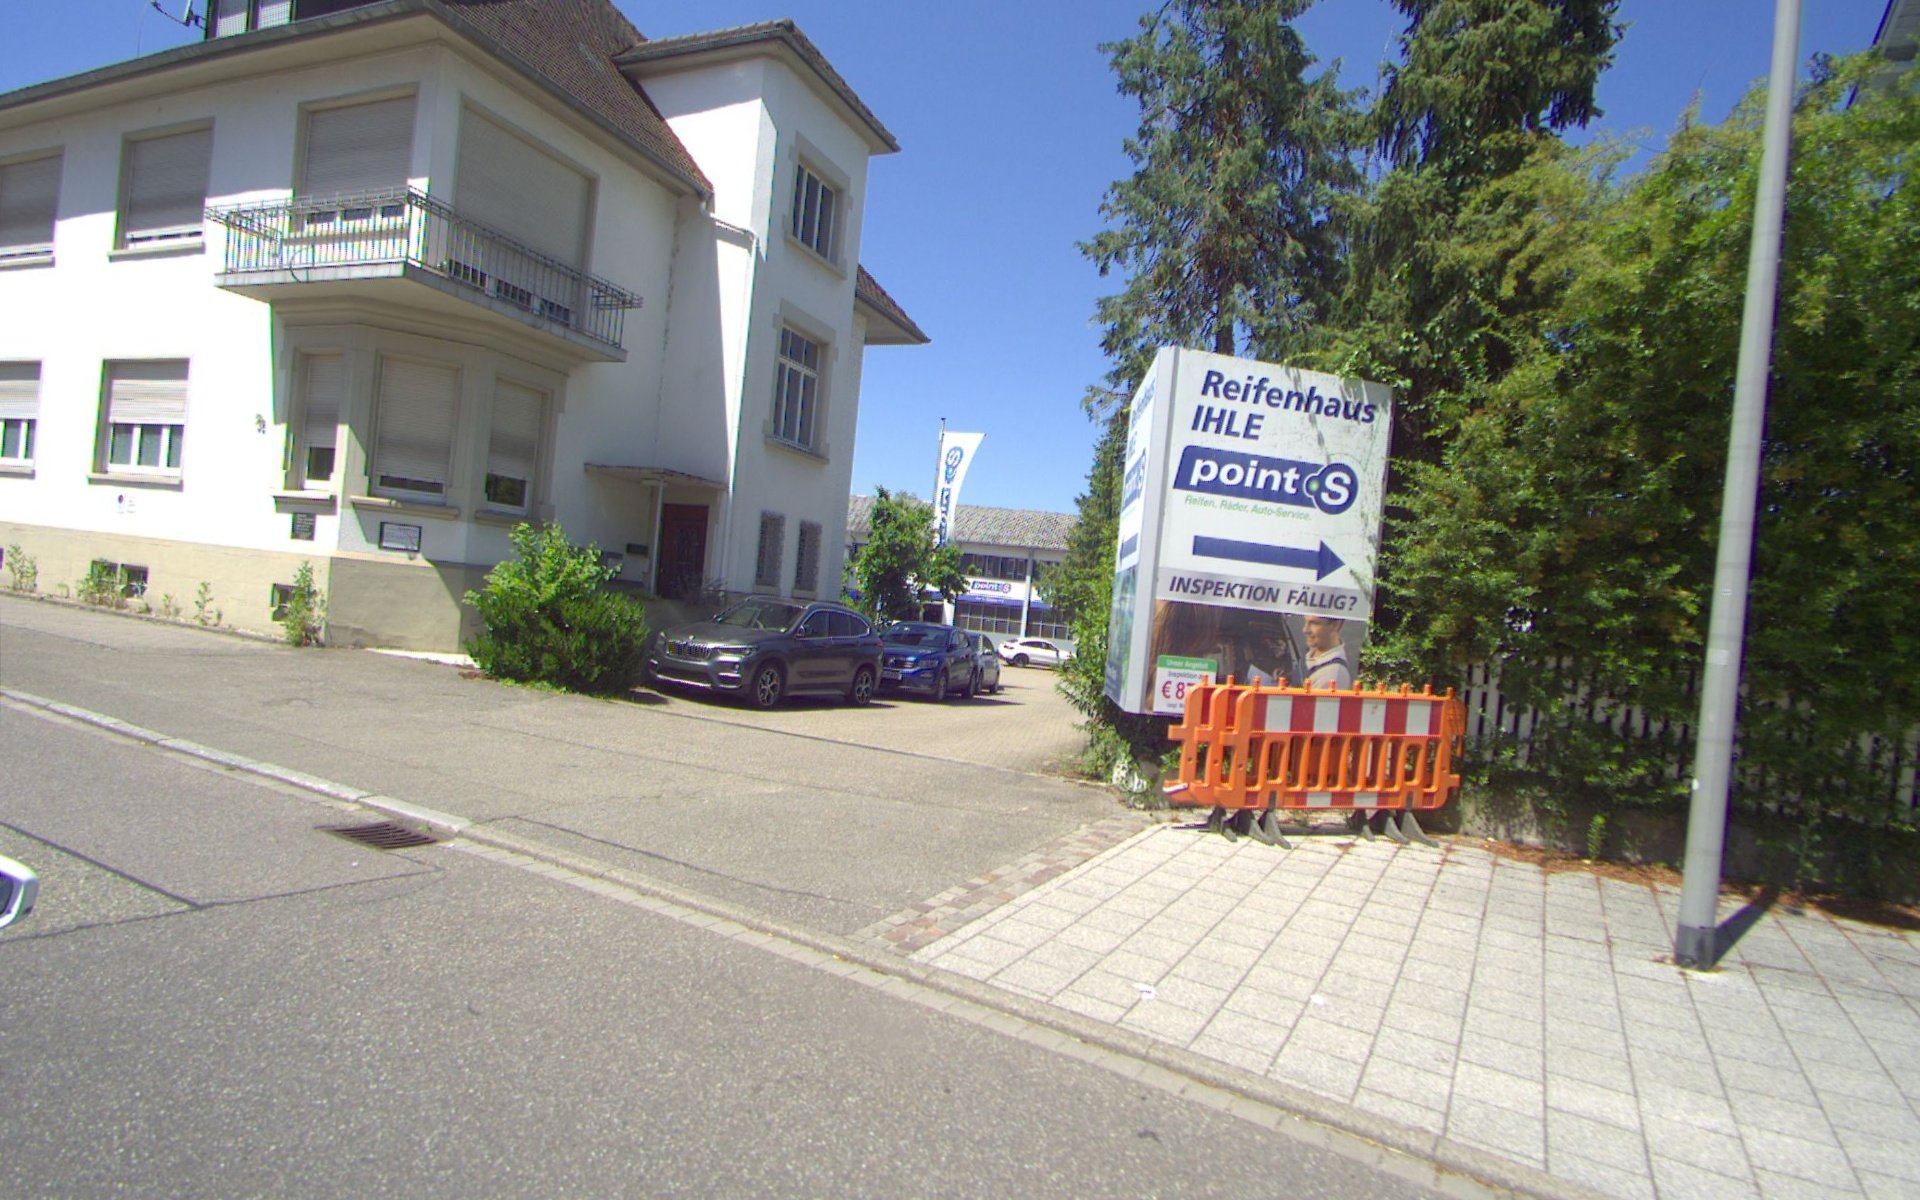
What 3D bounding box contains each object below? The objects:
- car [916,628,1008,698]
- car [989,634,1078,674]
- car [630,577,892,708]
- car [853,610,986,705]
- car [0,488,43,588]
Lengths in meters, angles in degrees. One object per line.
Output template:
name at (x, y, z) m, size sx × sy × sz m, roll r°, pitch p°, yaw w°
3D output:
car at (0.139, 1.607, 25.915) m, size 1.531 × 1.487 × 4.005 m, roll 6°, pitch -2°, yaw 11°
car at (3.946, 2.917, 54.383) m, size 4.269 × 1.636 × 1.997 m, roll 7°, pitch -2°, yaw -13°
car at (-2.884, 0.740, 15.487) m, size 1.766 × 1.610 × 4.000 m, roll 6°, pitch -3°, yaw 26°
car at (-0.719, 1.205, 20.954) m, size 1.576 × 1.610 × 4.005 m, roll 6°, pitch -2°, yaw 14°
car at (-19.614, -1.453, 18.016) m, size 1.706 × 1.851 × 4.312 m, roll 7°, pitch -3°, yaw 16°
